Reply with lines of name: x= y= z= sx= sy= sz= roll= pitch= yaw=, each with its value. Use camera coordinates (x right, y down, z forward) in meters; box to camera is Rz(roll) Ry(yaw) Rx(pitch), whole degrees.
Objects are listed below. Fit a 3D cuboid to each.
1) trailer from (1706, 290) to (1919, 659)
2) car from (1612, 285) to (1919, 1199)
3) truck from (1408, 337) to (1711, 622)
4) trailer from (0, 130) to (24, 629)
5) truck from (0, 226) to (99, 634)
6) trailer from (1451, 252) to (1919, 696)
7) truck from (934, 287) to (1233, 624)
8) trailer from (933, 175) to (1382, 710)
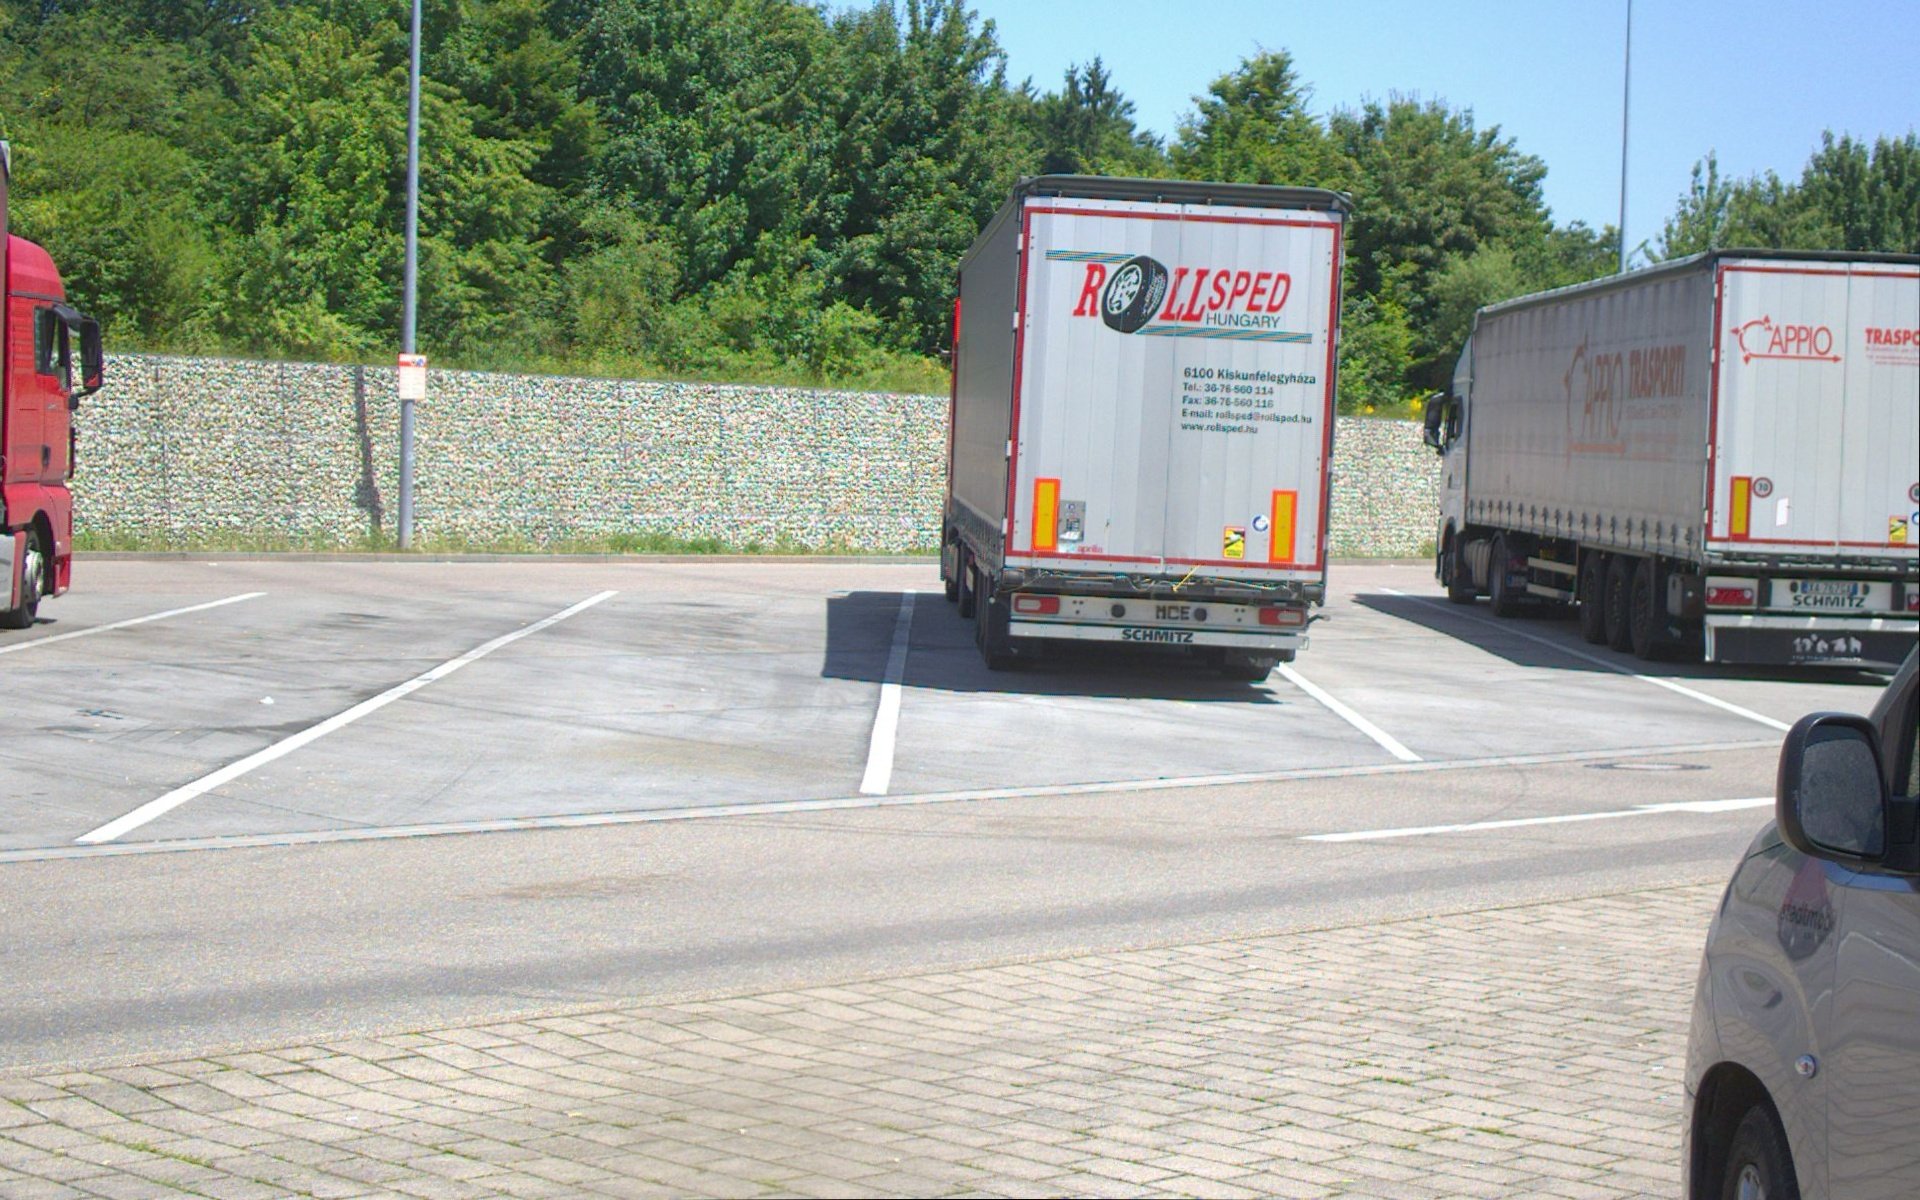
trailer: x=11.764 y=-1.451 z=39.761 sx=2.811 sy=3.976 sz=14.396 roll=2 pitch=3 yaw=-1
car: x=2.154 y=0.587 z=3.829 sx=1.869 sy=1.857 sz=4.177 roll=2 pitch=2 yaw=-2
truck: x=8.032 y=-1.694 z=46.810 sx=2.862 sy=3.509 sz=5.900 roll=2 pitch=3 yaw=-1
trailer: x=-9.187 y=-1.485 z=21.550 sx=2.791 sy=4.071 sz=14.133 roll=2 pitch=3 yaw=-1
truck: x=-9.230 y=-1.441 z=28.124 sx=2.851 sy=3.316 sz=5.900 roll=2 pitch=3 yaw=-1
trailer: x=8.123 y=-1.519 z=38.710 sx=2.811 sy=3.976 sz=14.396 roll=2 pitch=3 yaw=-1
truck: x=1.320 y=-1.731 z=40.490 sx=3.103 sy=3.554 sz=5.900 roll=2 pitch=3 yaw=-1
trailer: x=1.456 y=-1.589 z=33.598 sx=3.133 sy=3.976 sz=14.397 roll=2 pitch=3 yaw=-1
